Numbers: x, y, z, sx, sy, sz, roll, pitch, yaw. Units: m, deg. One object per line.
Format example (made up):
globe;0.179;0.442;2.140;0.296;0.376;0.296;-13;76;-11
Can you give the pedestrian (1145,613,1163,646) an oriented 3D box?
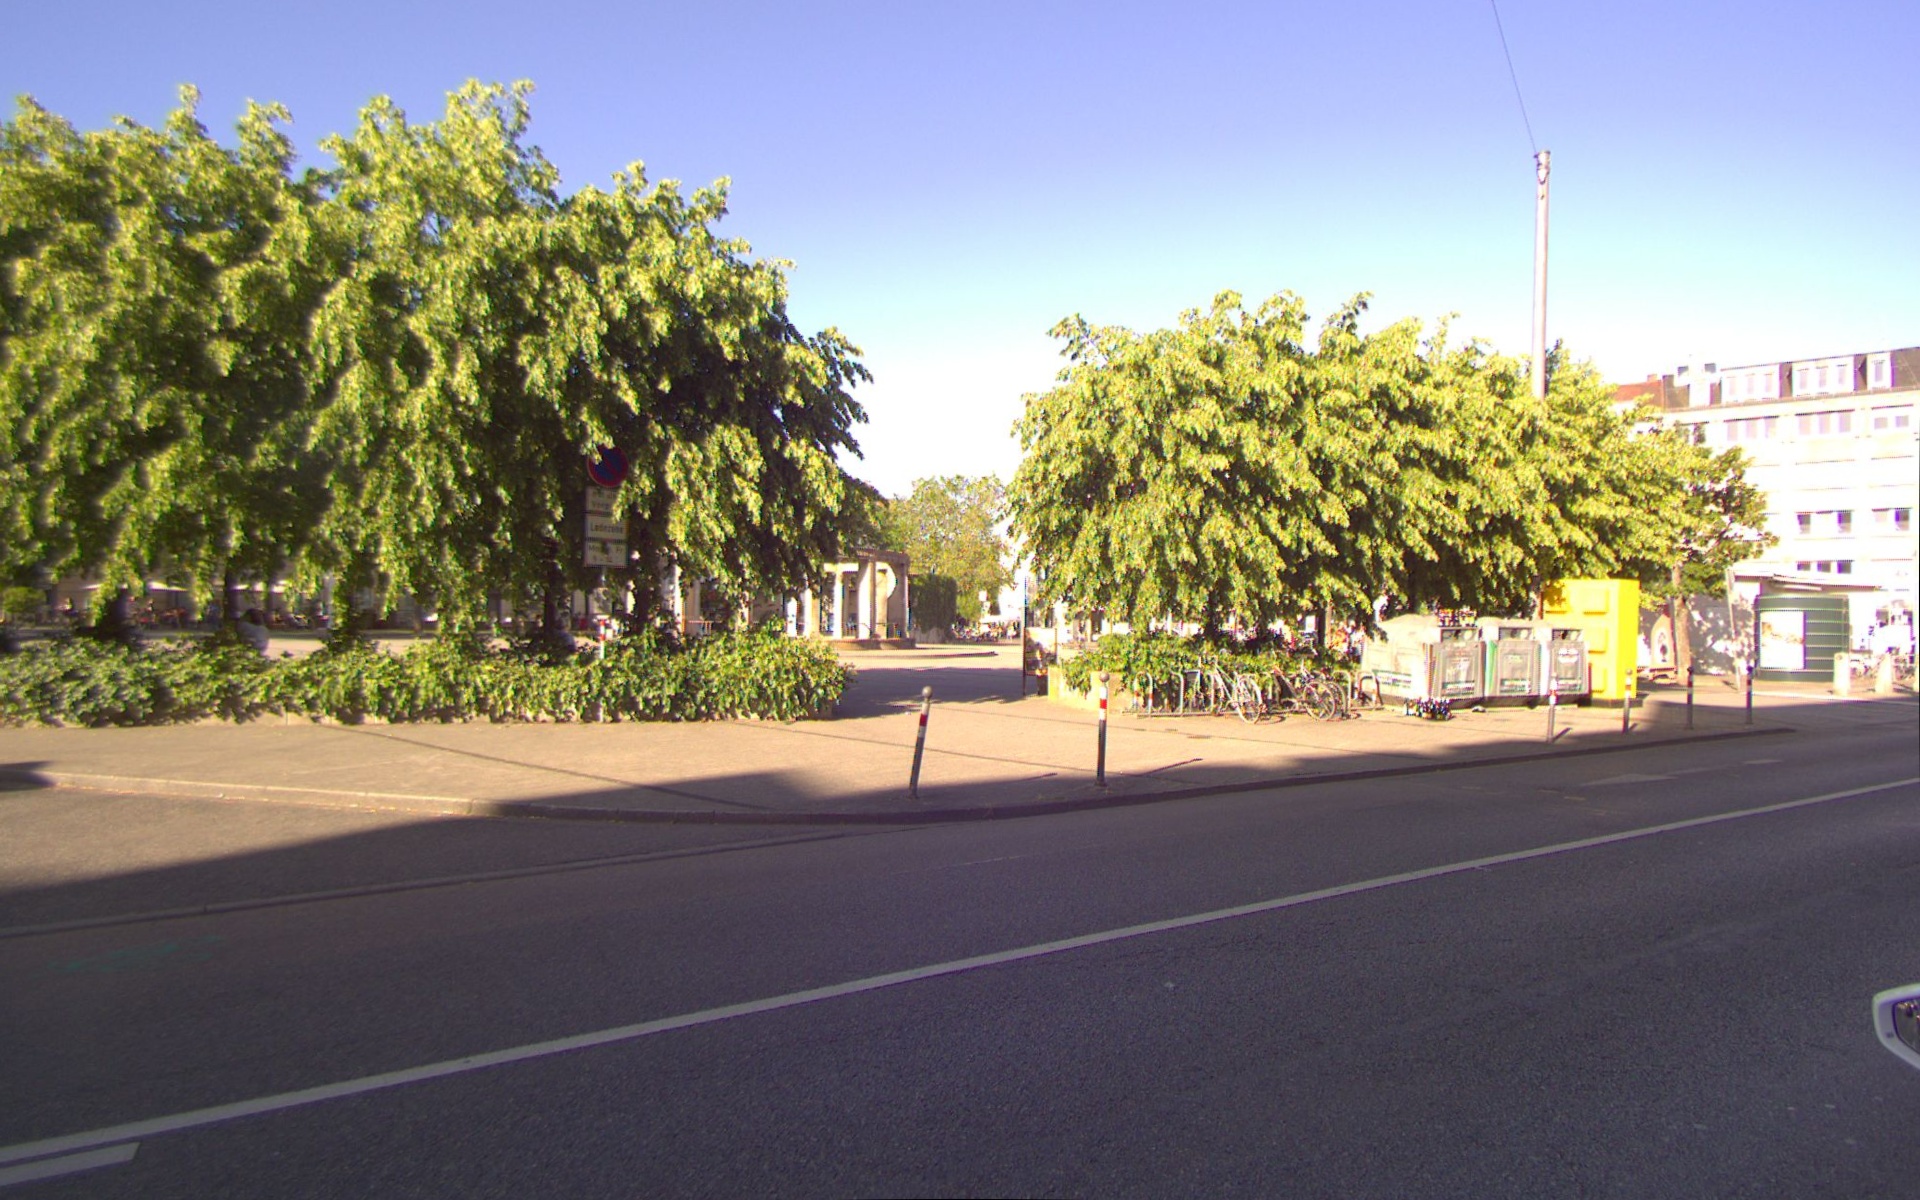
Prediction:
pedestrian;12.026;1.837;62.341;0.886;2.040;1.221;1;-1;3

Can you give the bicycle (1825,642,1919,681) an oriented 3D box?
bicycle;30.909;2.051;33.868;0.833;1.171;2.493;1;-1;-31

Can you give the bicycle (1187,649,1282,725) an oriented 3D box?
bicycle;4.220;1.320;15.547;0.425;1.031;1.590;1;0;-28

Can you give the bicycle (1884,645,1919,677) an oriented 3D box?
bicycle;36.758;2.321;38.029;0.834;1.171;2.517;1;-1;-34

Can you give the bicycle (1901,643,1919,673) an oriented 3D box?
bicycle;38.682;2.309;39.507;0.834;1.171;2.308;1;-1;-34

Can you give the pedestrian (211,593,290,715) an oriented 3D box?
pedestrian;-10.748;0.801;15.239;0.725;1.781;0.895;1;-1;-19

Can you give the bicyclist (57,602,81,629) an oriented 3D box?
bicyclist;-48.612;0.824;54.804;0.660;1.447;0.699;1;-1;4

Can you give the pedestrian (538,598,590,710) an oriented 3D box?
pedestrian;-6.512;0.866;16.557;0.725;1.781;0.895;1;-1;-19

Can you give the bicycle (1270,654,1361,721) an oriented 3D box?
bicycle;5.801;1.412;16.462;0.425;0.971;1.518;0;0;-28

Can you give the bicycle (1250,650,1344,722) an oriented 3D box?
bicycle;5.389;1.353;16.130;0.425;1.036;1.561;1;-1;-28

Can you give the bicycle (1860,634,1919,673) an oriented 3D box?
bicycle;34.485;1.937;36.522;0.913;1.341;2.461;1;-1;-35

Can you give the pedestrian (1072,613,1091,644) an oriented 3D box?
pedestrian;8.267;1.964;68.606;0.888;2.040;1.400;1;-2;-11

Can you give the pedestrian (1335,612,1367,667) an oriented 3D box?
pedestrian;14.678;1.470;37.762;0.886;2.040;0.993;1;0;7

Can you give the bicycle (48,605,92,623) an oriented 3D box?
bicycle;-48.621;0.784;54.878;0.577;0.966;1.908;1;-1;5

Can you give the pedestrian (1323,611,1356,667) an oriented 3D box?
pedestrian;14.036;1.433;37.165;0.886;2.040;0.993;1;0;7

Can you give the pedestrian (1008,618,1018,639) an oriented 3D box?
pedestrian;5.318;2.836;100.551;0.887;2.040;1.284;1;-1;-4

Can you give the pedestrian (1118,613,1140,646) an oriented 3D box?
pedestrian;10.521;1.822;62.591;0.890;2.040;1.280;1;-1;-18

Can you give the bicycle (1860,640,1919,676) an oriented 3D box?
bicycle;33.125;2.031;35.033;0.833;1.171;2.449;1;-1;-31

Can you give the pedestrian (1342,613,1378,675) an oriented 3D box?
pedestrian;13.534;1.478;34.031;0.886;2.040;0.993;1;0;7

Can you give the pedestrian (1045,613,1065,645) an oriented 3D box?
pedestrian;6.153;1.879;65.050;0.894;2.040;0.985;1;0;-30
